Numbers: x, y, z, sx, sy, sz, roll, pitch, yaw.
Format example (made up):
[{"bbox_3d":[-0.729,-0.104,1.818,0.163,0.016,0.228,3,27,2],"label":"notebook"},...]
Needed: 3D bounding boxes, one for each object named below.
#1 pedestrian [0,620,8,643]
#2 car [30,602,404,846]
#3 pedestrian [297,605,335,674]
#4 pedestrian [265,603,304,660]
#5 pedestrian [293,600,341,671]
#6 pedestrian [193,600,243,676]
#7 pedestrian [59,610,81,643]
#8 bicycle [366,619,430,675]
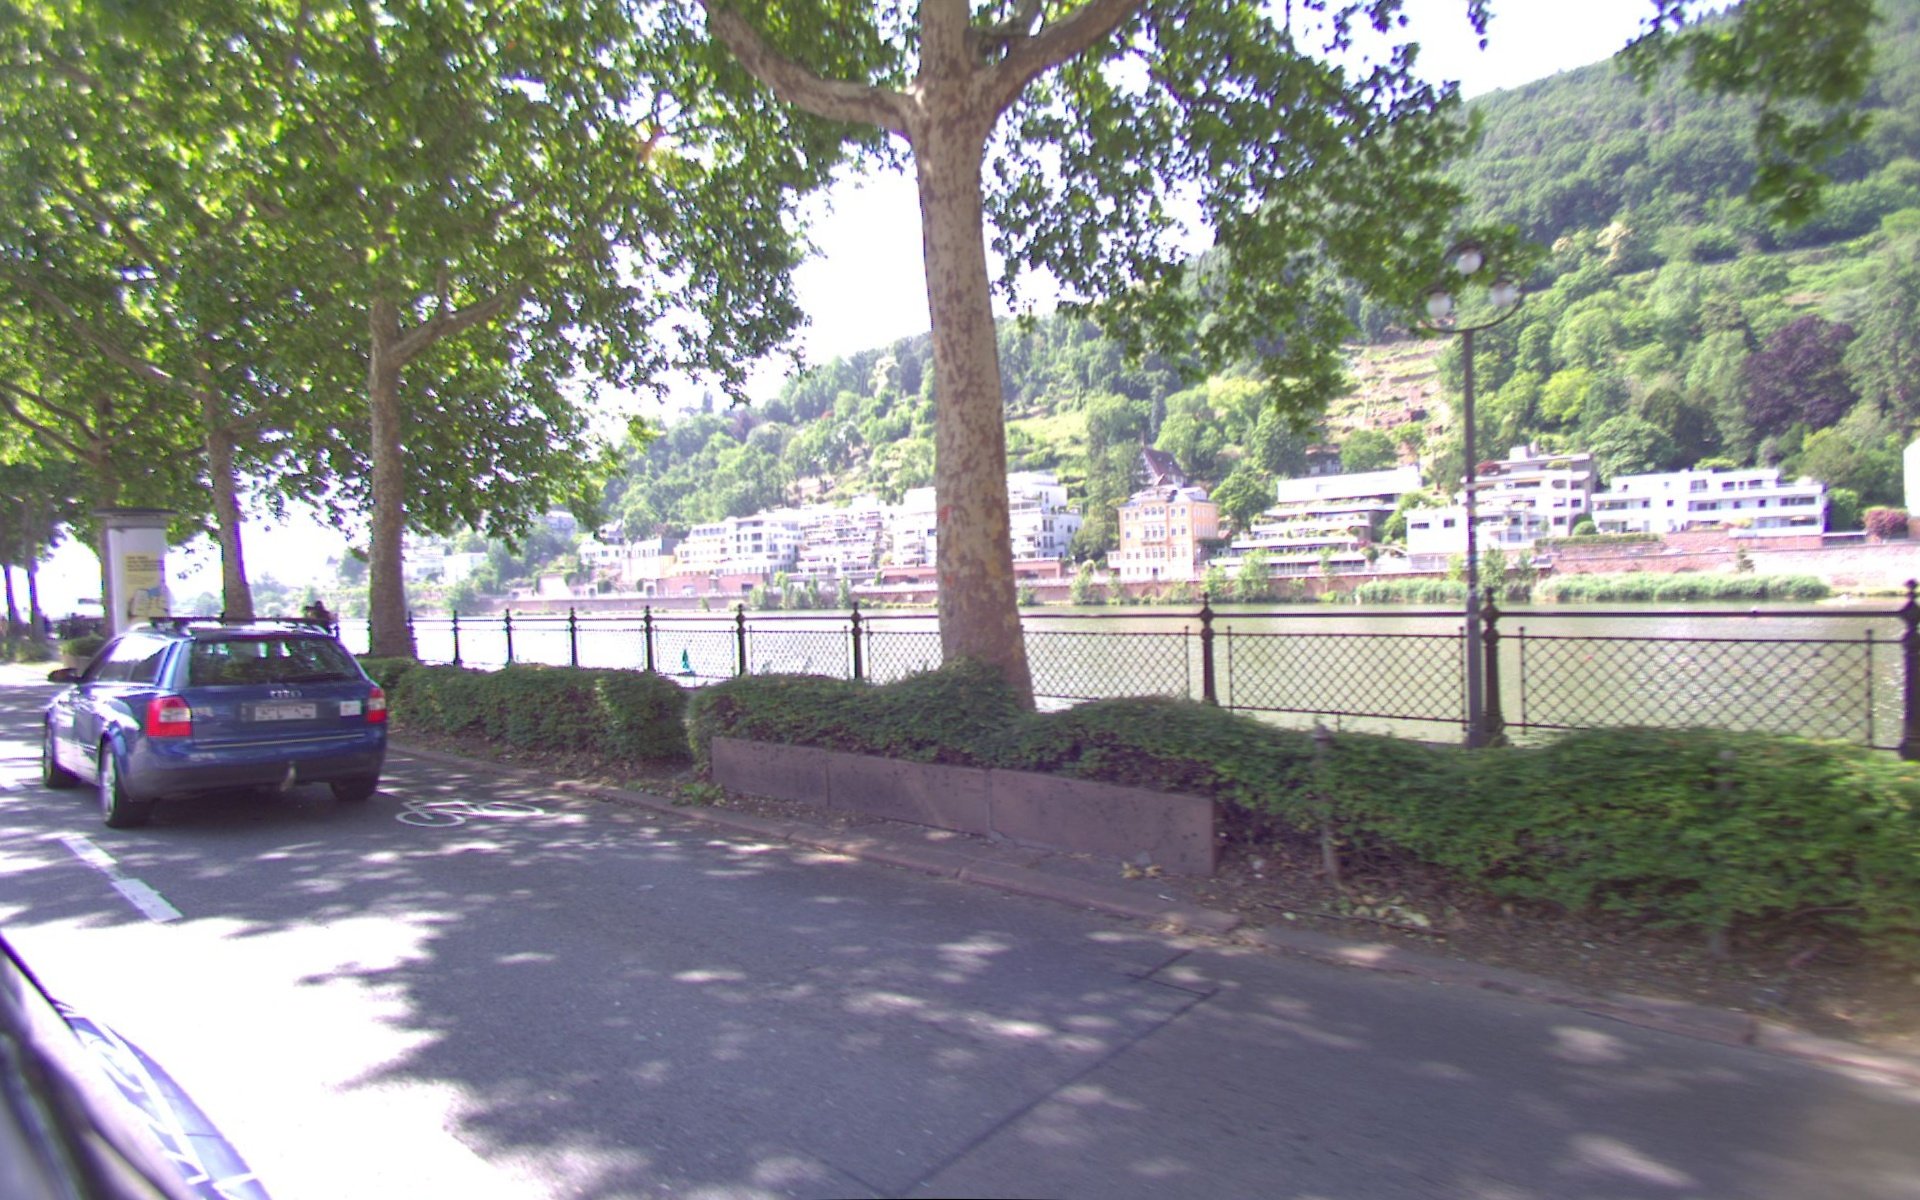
[{"bbox_3d":[-71.639,2.377,75.556,0.730,1.719,0.750,-2,0,43],"label":"pedestrian"},{"bbox_3d":[-6.379,0.826,8.474,4.404,1.529,1.683,-1,-2,43],"label":"car"},{"bbox_3d":[-15.839,0.957,24.891,0.552,1.640,0.625,-1,1,40],"label":"pedestrian"},{"bbox_3d":[-16.305,0.746,24.425,0.552,1.330,0.625,-1,1,40],"label":"pedestrian"},{"bbox_3d":[-15.877,0.862,24.990,0.709,1.696,0.783,-1,1,40],"label":"pedestrian"},{"bbox_3d":[-17.463,0.882,23.828,0.729,1.743,0.751,-1,1,40],"label":"pedestrian"},{"bbox_3d":[-48.155,1.417,54.778,0.729,1.719,0.751,-1,1,40],"label":"pedestrian"},{"bbox_3d":[-12.458,1.017,22.411,1.843,1.161,0.557,-1,3,41],"label":"bicycle"}]
